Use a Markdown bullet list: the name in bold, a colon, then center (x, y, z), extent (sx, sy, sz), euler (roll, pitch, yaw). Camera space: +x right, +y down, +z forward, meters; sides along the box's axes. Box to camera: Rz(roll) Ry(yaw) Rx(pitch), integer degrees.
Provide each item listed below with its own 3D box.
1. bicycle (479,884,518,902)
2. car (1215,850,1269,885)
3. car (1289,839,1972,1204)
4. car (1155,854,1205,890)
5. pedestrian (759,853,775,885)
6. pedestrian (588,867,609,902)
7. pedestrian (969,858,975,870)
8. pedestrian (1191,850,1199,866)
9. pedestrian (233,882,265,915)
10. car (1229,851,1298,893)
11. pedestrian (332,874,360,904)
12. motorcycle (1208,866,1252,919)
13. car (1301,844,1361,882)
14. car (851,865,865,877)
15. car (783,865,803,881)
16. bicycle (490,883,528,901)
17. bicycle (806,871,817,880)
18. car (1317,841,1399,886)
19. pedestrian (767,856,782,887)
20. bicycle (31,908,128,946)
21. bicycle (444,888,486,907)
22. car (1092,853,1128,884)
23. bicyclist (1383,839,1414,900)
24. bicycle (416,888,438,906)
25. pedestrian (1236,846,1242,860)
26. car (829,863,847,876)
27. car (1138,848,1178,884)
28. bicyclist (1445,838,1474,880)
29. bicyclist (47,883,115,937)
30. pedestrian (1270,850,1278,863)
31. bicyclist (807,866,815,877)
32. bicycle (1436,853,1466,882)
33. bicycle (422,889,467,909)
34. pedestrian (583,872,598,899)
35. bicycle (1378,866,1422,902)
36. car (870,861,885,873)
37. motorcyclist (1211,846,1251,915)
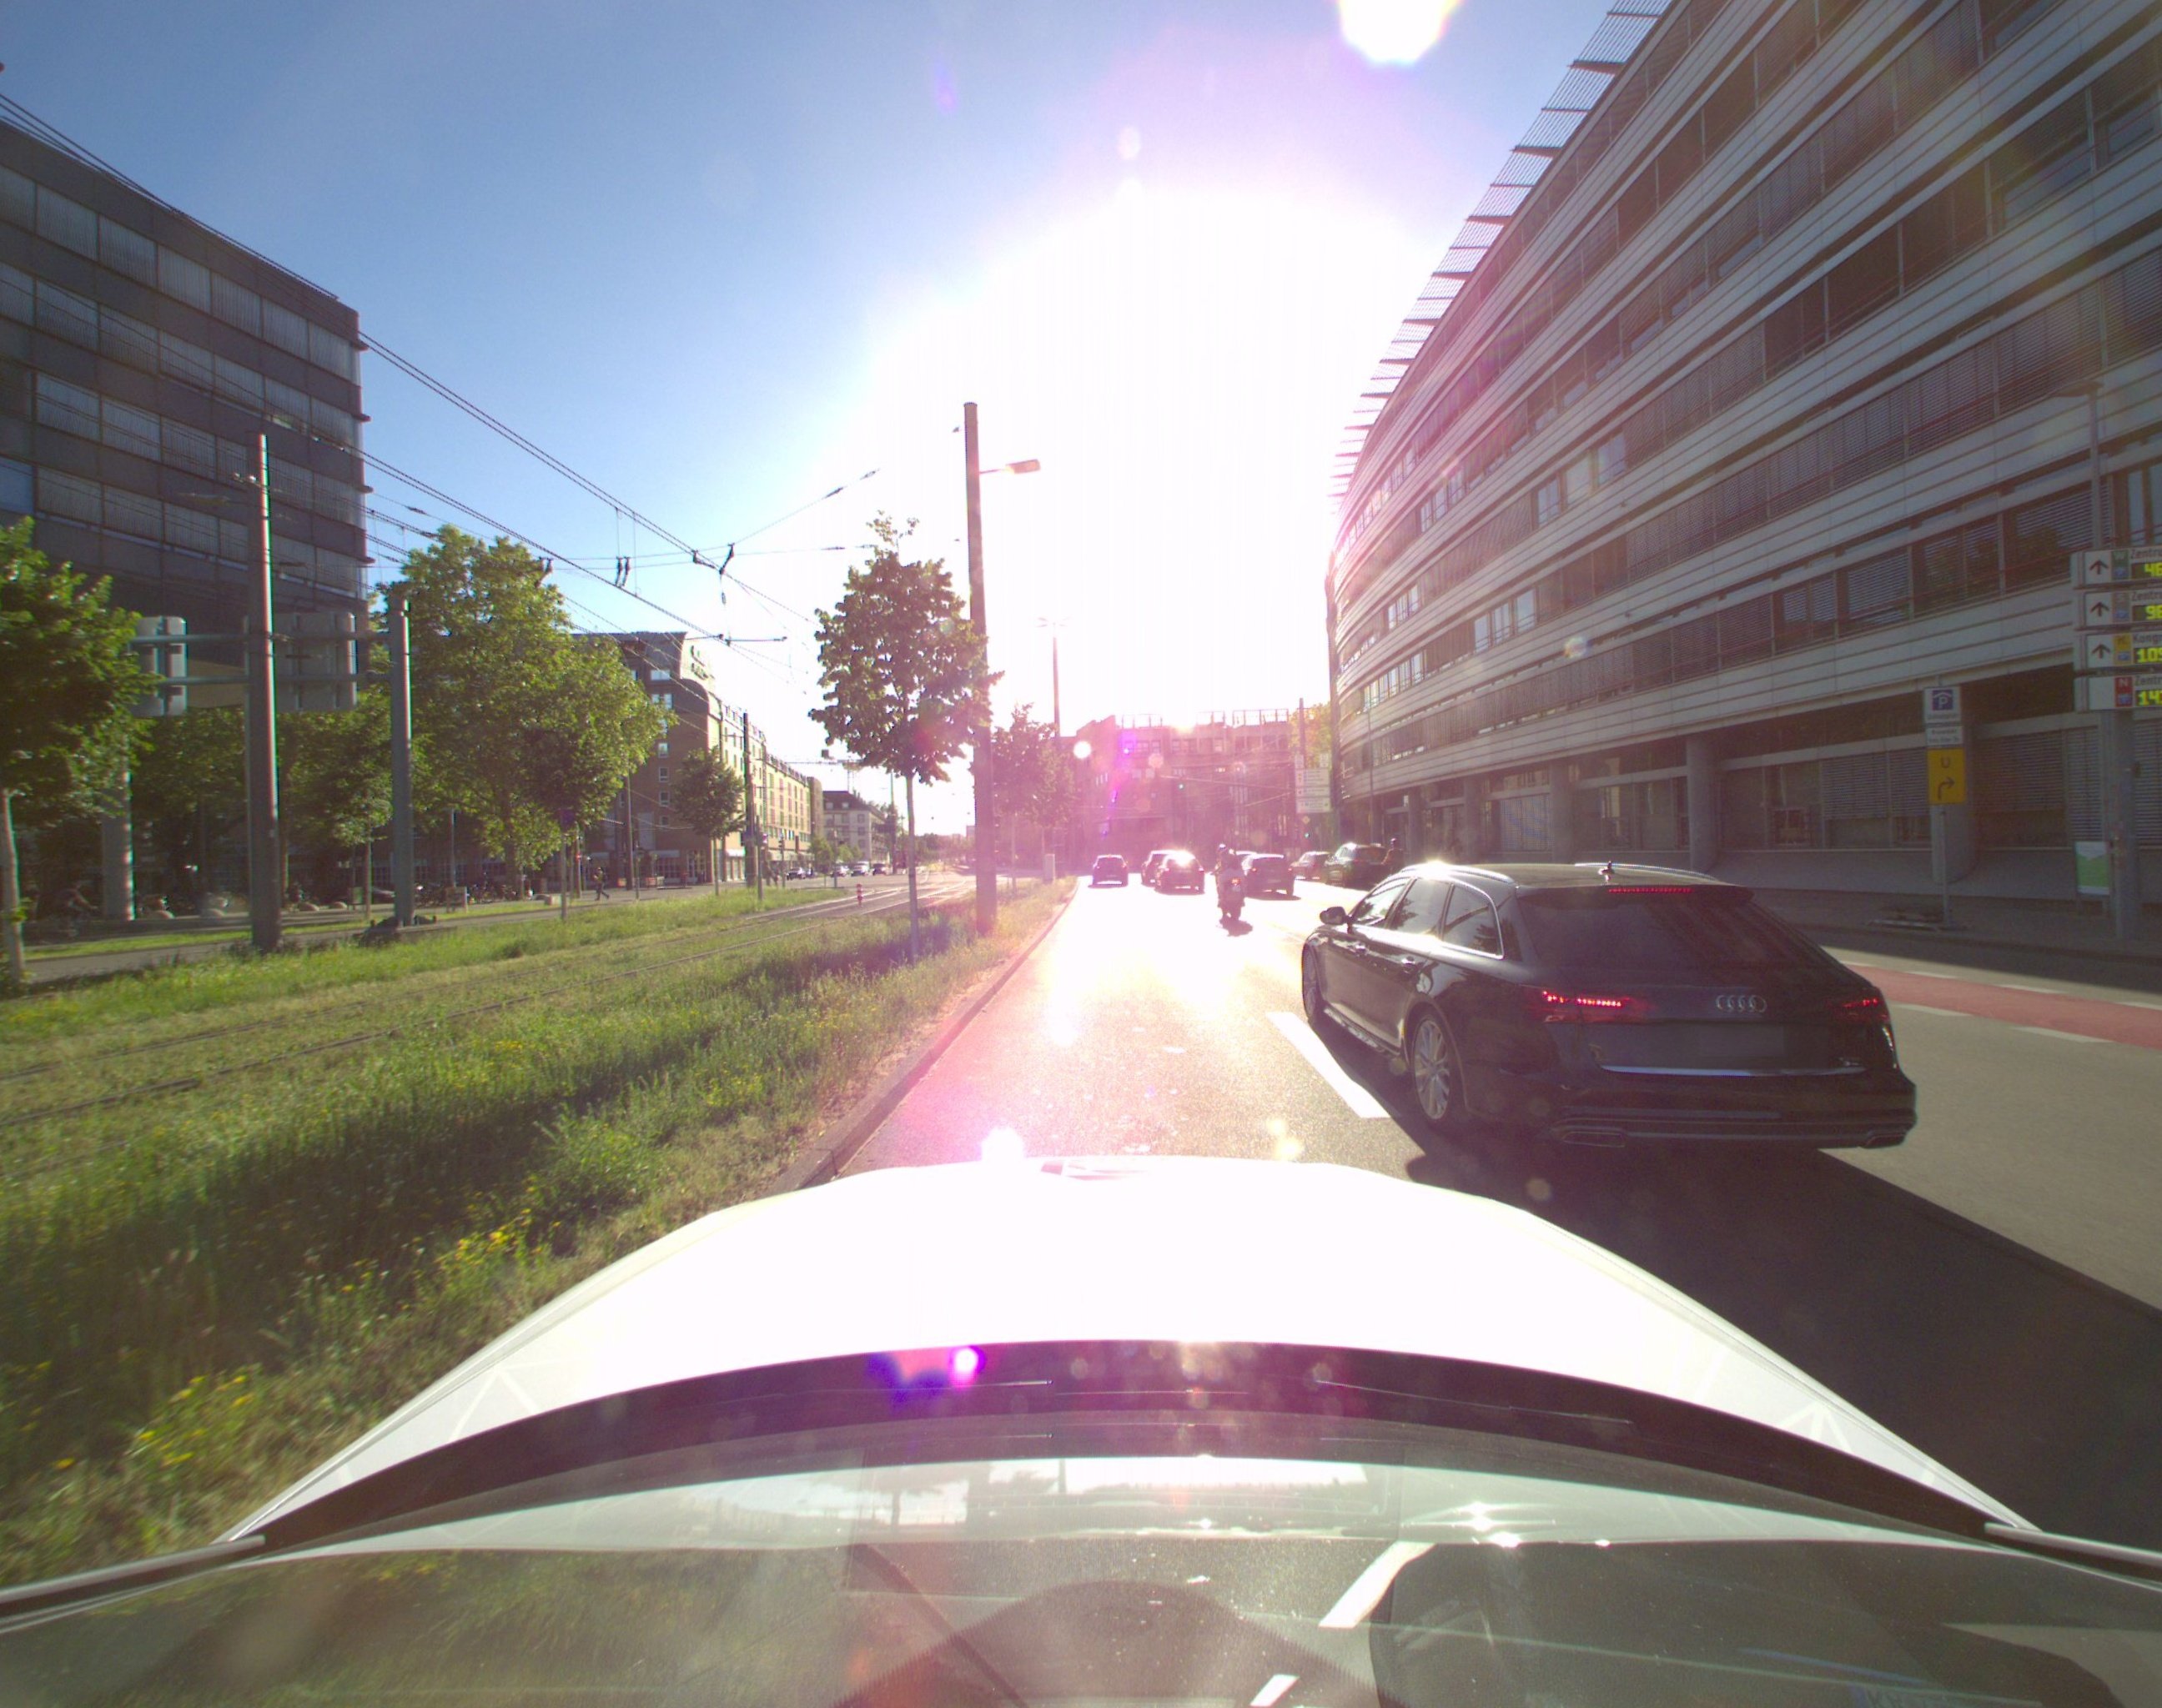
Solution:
- **bicycle**: center (-33.355, 2.225, 46.629), extent (1.763, 0.951, 0.540), euler (-2, 0, -6)
- **car**: center (7.270, 0.577, 37.192), extent (1.800, 1.457, 4.002), euler (-1, 0, 2)
- **car**: center (2.828, 0.680, 5.598), extent (1.804, 1.492, 4.498), euler (0, 0, 2)
- **car**: center (4.039, 0.720, 33.729), extent (1.730, 1.349, 4.002), euler (-2, 0, 2)
- **pedestrian**: center (-18.197, 0.876, 47.250), extent (0.630, 1.830, 0.662), euler (-2, 0, -5)
- **pedestrian**: center (-28.313, 1.774, 47.794), extent (0.729, 2.014, 0.839), euler (-1, 0, 5)
- **pedestrian**: center (-15.764, 1.406, 117.453), extent (0.742, 1.640, 0.764), euler (-2, 0, -12)
- **pedestrian**: center (12.625, 0.422, 89.963), extent (0.700, 1.759, 0.564), euler (-2, 0, 26)
- **pedestrian**: center (-42.408, 2.269, 41.518), extent (0.729, 1.645, 0.839), euler (-2, 0, 5)
- **car**: center (6.727, 0.628, 30.373), extent (1.800, 1.457, 4.002), euler (-1, 0, 2)
- **pedestrian**: center (-40.144, 1.881, 44.494), extent (0.729, 1.597, 0.839), euler (-1, 0, 5)
- **motorcycle**: center (3.490, 0.873, 19.188), extent (0.772, 1.115, 1.971), euler (-2, 0, 4)
- **car**: center (12.011, 0.410, 39.384), extent (1.984, 1.651, 4.006), euler (-2, 0, 5)
- **car**: center (-30.853, 2.314, 112.664), extent (1.748, 1.505, 3.859), euler (-2, 0, -16)
- **car**: center (-38.796, 2.554, 109.893), extent (1.995, 2.013, 3.983), euler (-2, 0, -12)
- **bicycle**: center (-33.375, 2.228, 47.550), extent (1.763, 0.951, 0.540), euler (-2, 0, -6)
- **bicycle**: center (-35.067, 2.798, 105.970), extent (0.649, 1.085, 2.919), euler (-2, 0, -7)
- **car**: center (11.710, 0.389, 34.752), extent (1.987, 1.750, 4.327), euler (-2, 0, -1)
- **pedestrian**: center (-18.141, 1.034, 48.211), extent (0.562, 1.817, 0.662), euler (-2, 0, -5)
- **bicycle**: center (-29.177, 2.111, 23.777), extent (0.497, 0.910, 1.887), euler (-2, 0, -2)
- **bicycle**: center (-33.915, 2.382, 44.847), extent (1.775, 0.951, 0.537), euler (-2, 0, -26)
- **car**: center (1.424, 0.684, 40.061), extent (1.643, 1.433, 4.002), euler (-2, 0, 2)
- **bicyclist**: center (9.574, 0.465, 24.589), extent (0.575, 1.791, 0.864), euler (-2, 0, 2)
- **bicycle**: center (-35.819, 2.361, 44.591), extent (1.748, 0.951, 0.545), euler (-2, 0, 37)
- **pedestrian**: center (16.567, -0.062, 85.366), extent (0.528, 1.430, 0.598), euler (-2, 0, 1)
- **car**: center (-33.559, 2.135, 112.696), extent (1.995, 1.596, 4.719), euler (-2, 0, -12)
- **car**: center (3.816, 0.568, 40.861), extent (1.730, 1.651, 4.002), euler (-2, 0, 2)
- **bicyclist**: center (14.838, 0.182, 31.953), extent (0.681, 1.618, 0.992), euler (-2, 0, 5)
- **bicyclist**: center (-29.183, 1.619, 23.785), extent (0.676, 1.465, 1.016), euler (-2, 0, -2)
- **pedestrian**: center (24.006, 0.267, 101.497), extent (0.895, 1.617, 0.562), euler (-2, 0, 9)
- **bicyclist**: center (-34.965, 2.285, 105.374), extent (0.756, 1.375, 0.949), euler (-2, 0, -7)
- **bicycle**: center (14.441, 0.514, 31.823), extent (0.501, 1.058, 1.705), euler (-4, -1, 7)
- **bicycle**: center (-34.161, 2.406, 43.720), extent (1.768, 0.951, 0.539), euler (-2, 0, -15)
- **pedestrian**: center (-37.618, 2.439, 62.503), extent (0.663, 2.013, 0.678), euler (-2, 0, 2)
- **bicycle**: center (9.615, 0.886, 24.637), extent (0.490, 0.997, 2.329), euler (-2, 0, 2)
- **car**: center (-27.982, 1.771, 111.844), extent (1.748, 1.505, 3.859), euler (-2, 0, -16)
- **motorcyclist**: center (3.453, 0.586, 18.817), extent (0.741, 1.530, 1.022), euler (-2, 0, 4)
